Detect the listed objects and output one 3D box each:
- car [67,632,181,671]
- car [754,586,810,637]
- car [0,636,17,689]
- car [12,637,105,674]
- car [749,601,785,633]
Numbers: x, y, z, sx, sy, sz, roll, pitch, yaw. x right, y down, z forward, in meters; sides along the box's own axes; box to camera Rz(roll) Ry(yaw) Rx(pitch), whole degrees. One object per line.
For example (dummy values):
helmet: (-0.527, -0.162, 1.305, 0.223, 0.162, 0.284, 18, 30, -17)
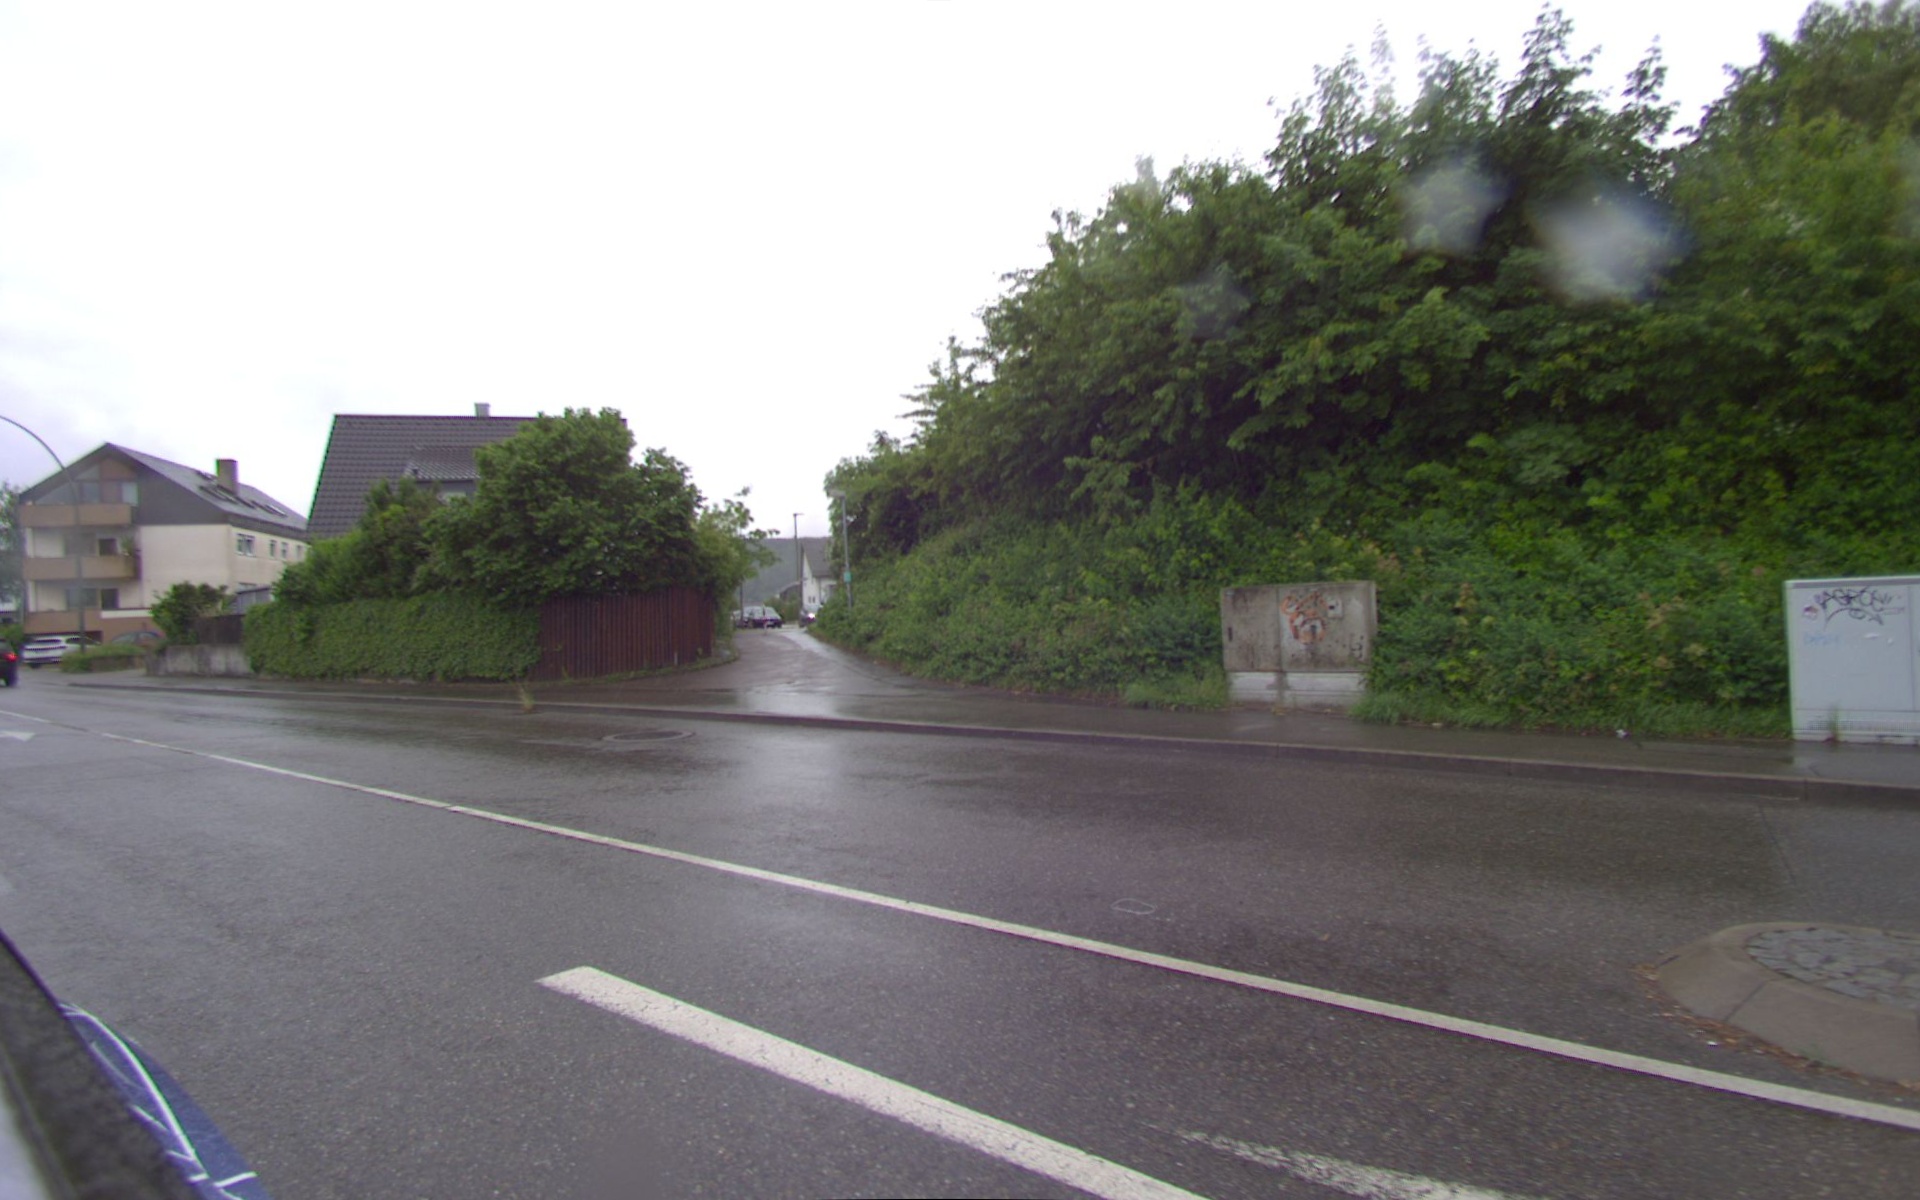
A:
car: (-38.269, 2.338, 46.439, 3.609, 1.530, 1.759, -2, 0, -14)
car: (-6.041, 0.391, 34.707, 1.683, 1.600, 3.668, -1, 0, -7)
car: (-32.602, 2.068, 33.161, 4.413, 1.680, 1.973, -2, 0, 40)
car: (-43.465, 2.629, 48.894, 1.837, 1.530, 4.012, -2, 0, -17)
car: (-12.146, 1.047, 63.890, 1.968, 1.873, 4.007, -2, 0, -8)
